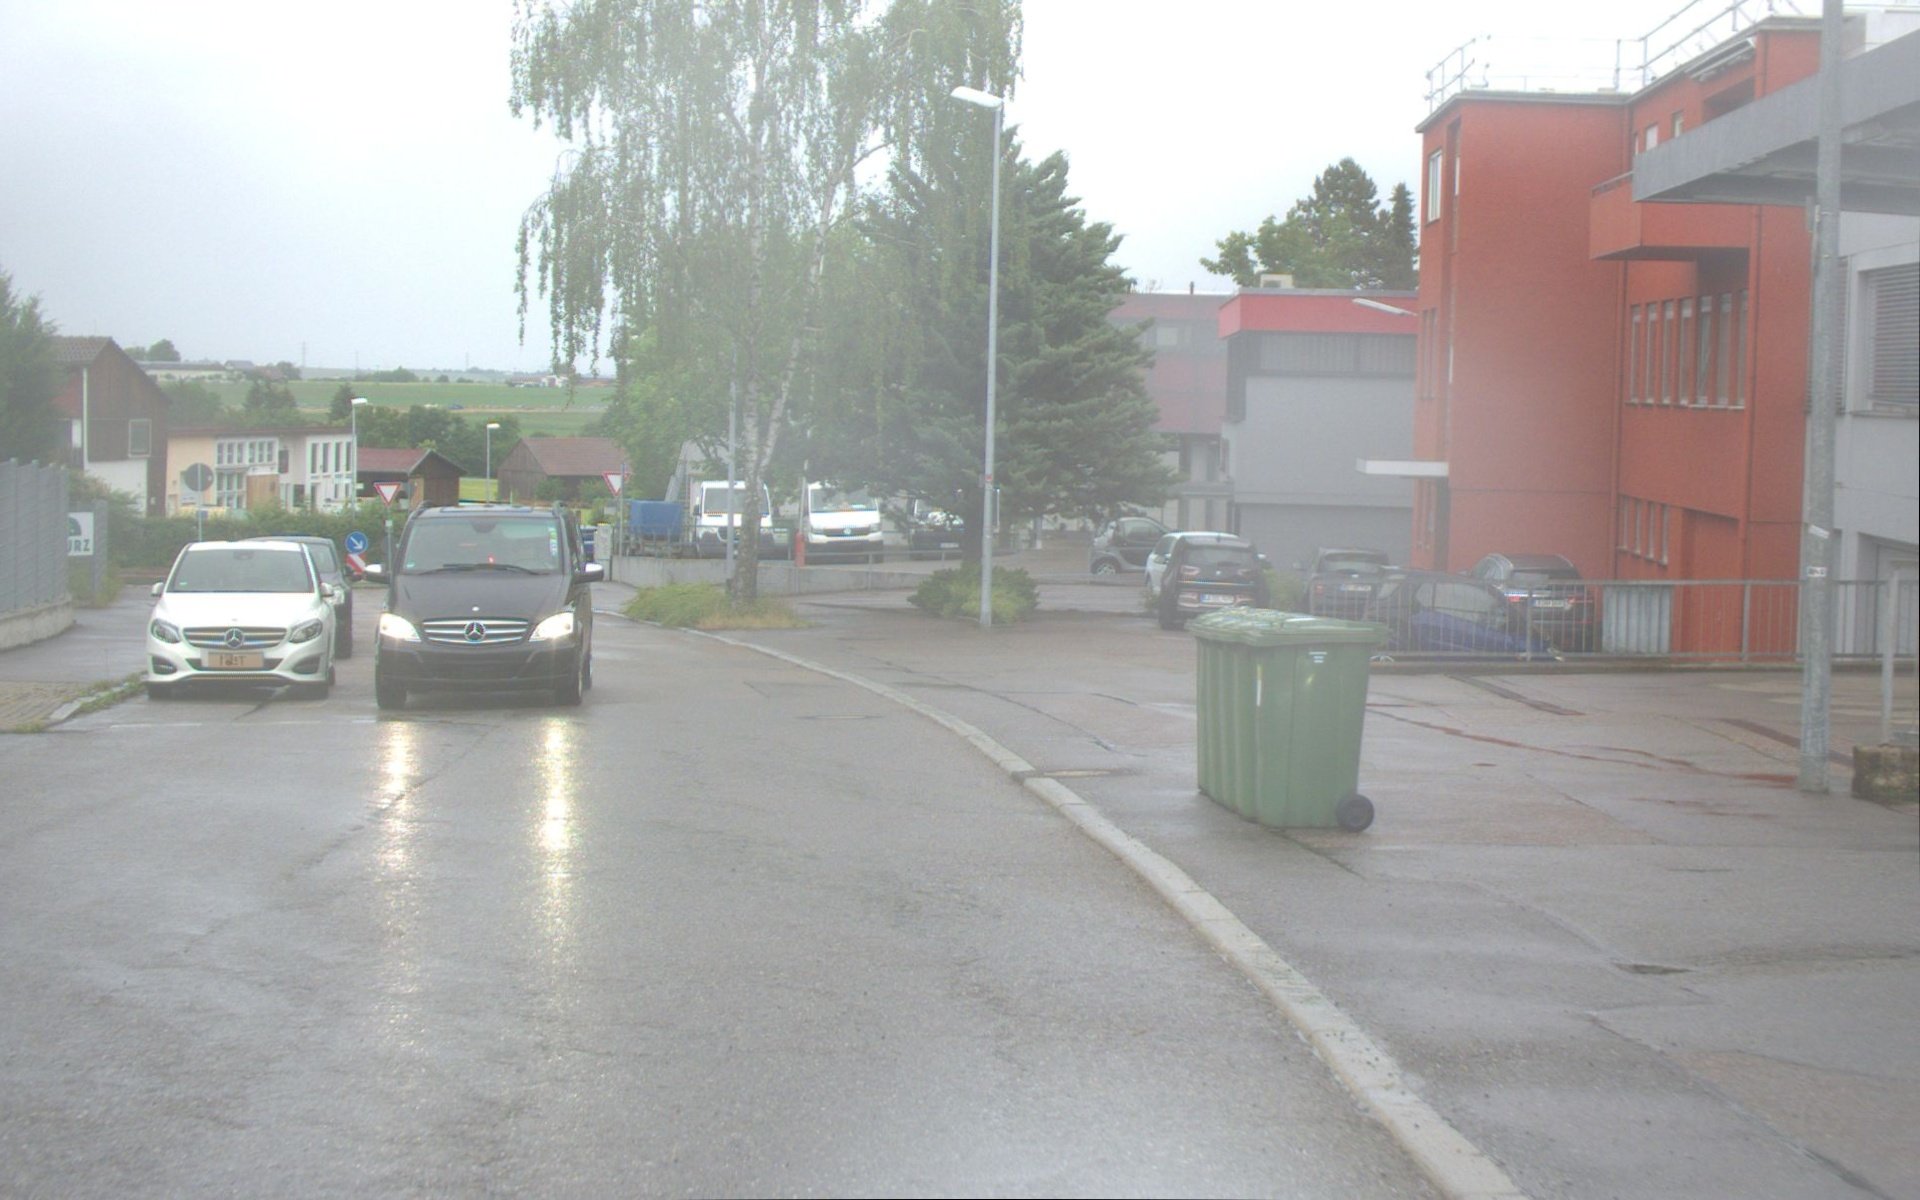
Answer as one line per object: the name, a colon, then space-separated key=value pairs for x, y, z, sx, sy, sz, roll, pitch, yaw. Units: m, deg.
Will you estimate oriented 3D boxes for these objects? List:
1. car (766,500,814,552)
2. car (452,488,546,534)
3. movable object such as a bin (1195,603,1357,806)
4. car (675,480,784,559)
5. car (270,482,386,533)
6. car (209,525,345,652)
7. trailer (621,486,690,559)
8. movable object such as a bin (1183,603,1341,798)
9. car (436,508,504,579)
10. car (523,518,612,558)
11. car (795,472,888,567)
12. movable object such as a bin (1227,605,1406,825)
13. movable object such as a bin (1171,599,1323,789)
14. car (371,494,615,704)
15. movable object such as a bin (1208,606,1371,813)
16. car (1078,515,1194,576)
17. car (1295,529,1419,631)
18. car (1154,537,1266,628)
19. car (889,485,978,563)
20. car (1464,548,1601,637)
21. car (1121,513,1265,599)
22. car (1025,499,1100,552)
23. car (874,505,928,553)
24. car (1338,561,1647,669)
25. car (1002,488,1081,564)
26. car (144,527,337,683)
car: x=-4.912 y=-2.131 z=98.953 sx=1.290 sy=1.419 sz=2.547 roll=1 pitch=0 yaw=-4
car: x=-23.208 y=-4.461 z=173.083 sx=4.242 sy=2.218 sz=1.999 roll=1 pitch=0 yaw=8
movable object such as a bin: x=1.733 y=0.566 z=18.899 sx=0.809 sy=1.087 sz=0.541 roll=0 pitch=1 yaw=-3
car: x=-6.261 y=-2.143 z=92.970 sx=2.264 sy=2.007 sz=4.001 roll=1 pitch=0 yaw=-13
car: x=-24.162 y=-3.530 z=131.455 sx=3.987 sy=1.875 sz=2.000 roll=1 pitch=1 yaw=2
car: x=-9.187 y=-0.196 z=46.374 sx=1.700 sy=1.604 sz=4.001 roll=-1 pitch=2 yaw=-11
trailer: x=-8.618 y=-2.181 z=97.072 sx=1.852 sy=2.007 sz=4.001 roll=1 pitch=1 yaw=-6
movable object such as a bin: x=1.703 y=0.562 z=19.460 sx=0.808 sy=1.073 sz=0.581 roll=0 pitch=1 yaw=-3
car: x=-14.552 y=-1.648 z=102.257 sx=1.869 sy=2.022 sz=4.001 roll=1 pitch=0 yaw=-7
car: x=-15.858 y=-2.486 z=138.811 sx=2.460 sy=1.534 sz=4.001 roll=1 pitch=0 yaw=-24
car: x=-3.239 y=-2.147 z=93.286 sx=2.192 sy=2.451 sz=4.001 roll=1 pitch=0 yaw=-6
movable object such as a bin: x=1.825 y=0.582 z=17.673 sx=0.806 sy=1.089 sz=0.709 roll=0 pitch=1 yaw=-3
movable object such as a bin: x=1.669 y=0.543 z=20.064 sx=0.802 sy=1.075 sz=0.625 roll=0 pitch=1 yaw=-3
car: x=-4.454 y=-0.049 z=33.471 sx=1.885 sy=1.880 sz=5.072 roll=0 pitch=1 yaw=-2
movable object such as a bin: x=1.749 y=0.576 z=18.324 sx=0.775 sy=1.072 sz=0.583 roll=0 pitch=1 yaw=-3
car: x=4.091 y=-1.267 z=80.166 sx=2.547 sy=1.347 sz=1.242 roll=1 pitch=1 yaw=-3
car: x=6.730 y=-0.333 z=58.613 sx=1.739 sy=1.648 sz=4.000 roll=1 pitch=0 yaw=2
car: x=4.184 y=-0.283 z=58.039 sx=1.697 sy=1.470 sz=4.000 roll=1 pitch=0 yaw=2
car: x=-0.745 y=-2.058 z=94.145 sx=2.145 sy=2.007 sz=3.940 roll=1 pitch=0 yaw=-4
car: x=9.566 y=-0.114 z=57.654 sx=1.729 sy=1.417 sz=4.000 roll=1 pitch=0 yaw=2
car: x=4.407 y=-0.815 z=65.512 sx=2.064 sy=1.547 sz=4.001 roll=1 pitch=0 yaw=-6
car: x=2.965 y=-2.165 z=100.249 sx=1.636 sy=1.448 sz=3.512 roll=1 pitch=0 yaw=-8
car: x=-1.730 y=-2.051 z=99.828 sx=1.398 sy=1.321 sz=2.701 roll=1 pitch=0 yaw=-4
car: x=6.170 y=0.159 z=40.116 sx=3.401 sy=1.159 sz=1.791 roll=1 pitch=1 yaw=4
car: x=2.217 y=-2.013 z=94.421 sx=1.781 sy=2.007 sz=3.633 roll=1 pitch=0 yaw=-4
car: x=-7.343 y=0.048 z=35.357 sx=1.769 sy=1.507 sz=4.146 roll=0 pitch=0 yaw=-9
